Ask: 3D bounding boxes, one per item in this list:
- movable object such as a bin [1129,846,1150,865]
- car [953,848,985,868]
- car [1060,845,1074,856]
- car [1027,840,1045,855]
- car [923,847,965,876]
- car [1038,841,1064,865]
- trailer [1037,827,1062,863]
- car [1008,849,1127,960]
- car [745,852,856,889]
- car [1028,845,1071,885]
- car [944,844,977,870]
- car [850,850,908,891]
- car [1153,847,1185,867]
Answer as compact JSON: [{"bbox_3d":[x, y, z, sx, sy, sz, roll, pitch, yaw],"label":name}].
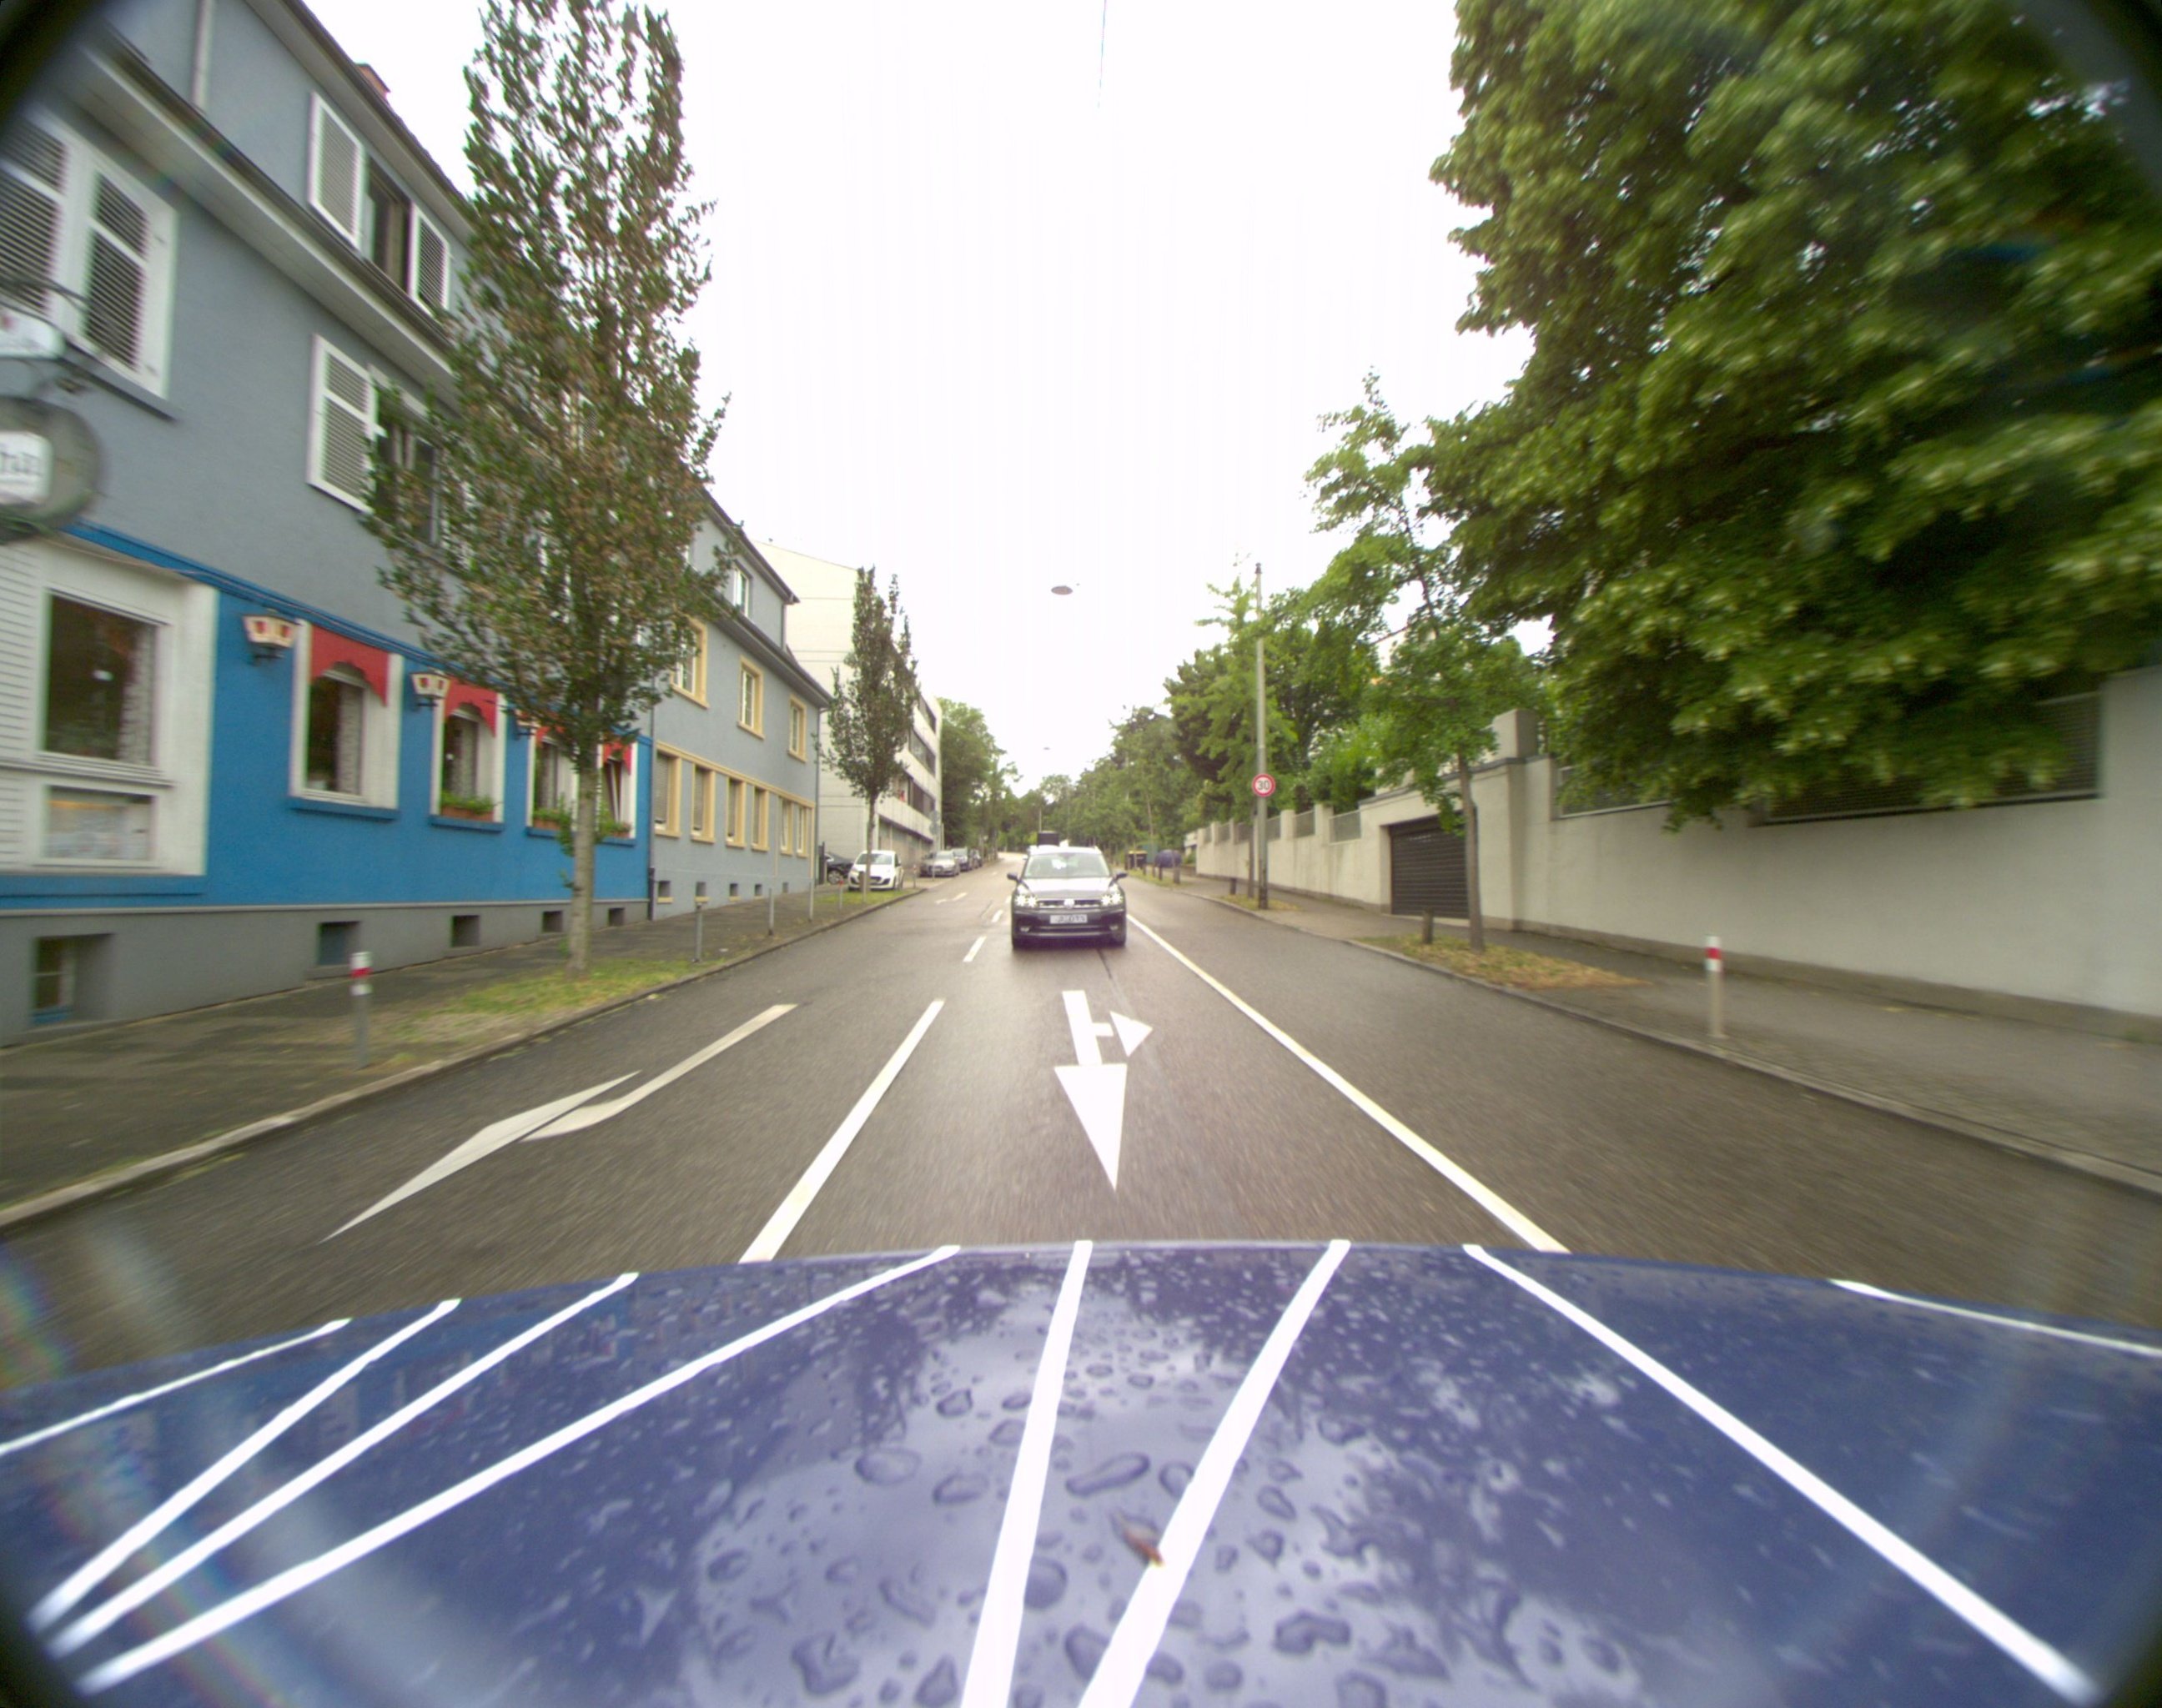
[{"bbox_3d":[4.184,0.118,54.688,1.227,1.343,1.122,0,1,-11],"label":"movable object such as a bin"},{"bbox_3d":[-8.162,0.265,55.883,1.711,1.436,4.096,0,1,0],"label":"car"},{"bbox_3d":[-1.953,-0.429,105.386,1.724,1.376,4.284,-3,0,-2],"label":"car"},{"bbox_3d":[-6.355,-0.938,106.718,2.000,2.002,3.995,0,2,-10],"label":"car"},{"bbox_3d":[-7.604,0.378,42.584,1.820,1.451,4.738,0,1,-5],"label":"car"},{"bbox_3d":[-2.140,-0.097,52.935,1.737,1.610,3.473,0,2,-3],"label":"car"},{"bbox_3d":[-2.318,-0.690,56.153,1.771,2.611,3.031,0,2,-3],"label":"trailer"},{"bbox_3d":[-0.289,0.746,13.536,1.786,1.632,4.198,0,1,-2],"label":"car"},{"bbox_3d":[-12.071,0.683,32.940,4.371,1.399,1.806,-2,2,-18],"label":"car"},{"bbox_3d":[-1.385,0.451,33.731,1.786,1.632,4.198,0,1,-2],"label":"car"},{"bbox_3d":[-7.940,0.148,50.443,1.750,1.665,4.342,0,1,-3],"label":"car"},{"bbox_3d":[-7.433,0.571,28.257,1.591,1.403,3.454,0,1,-7],"label":"car"},{"bbox_3d":[7.252,0.189,63.185,1.856,1.483,3.863,4,0,-4],"label":"car"}]
